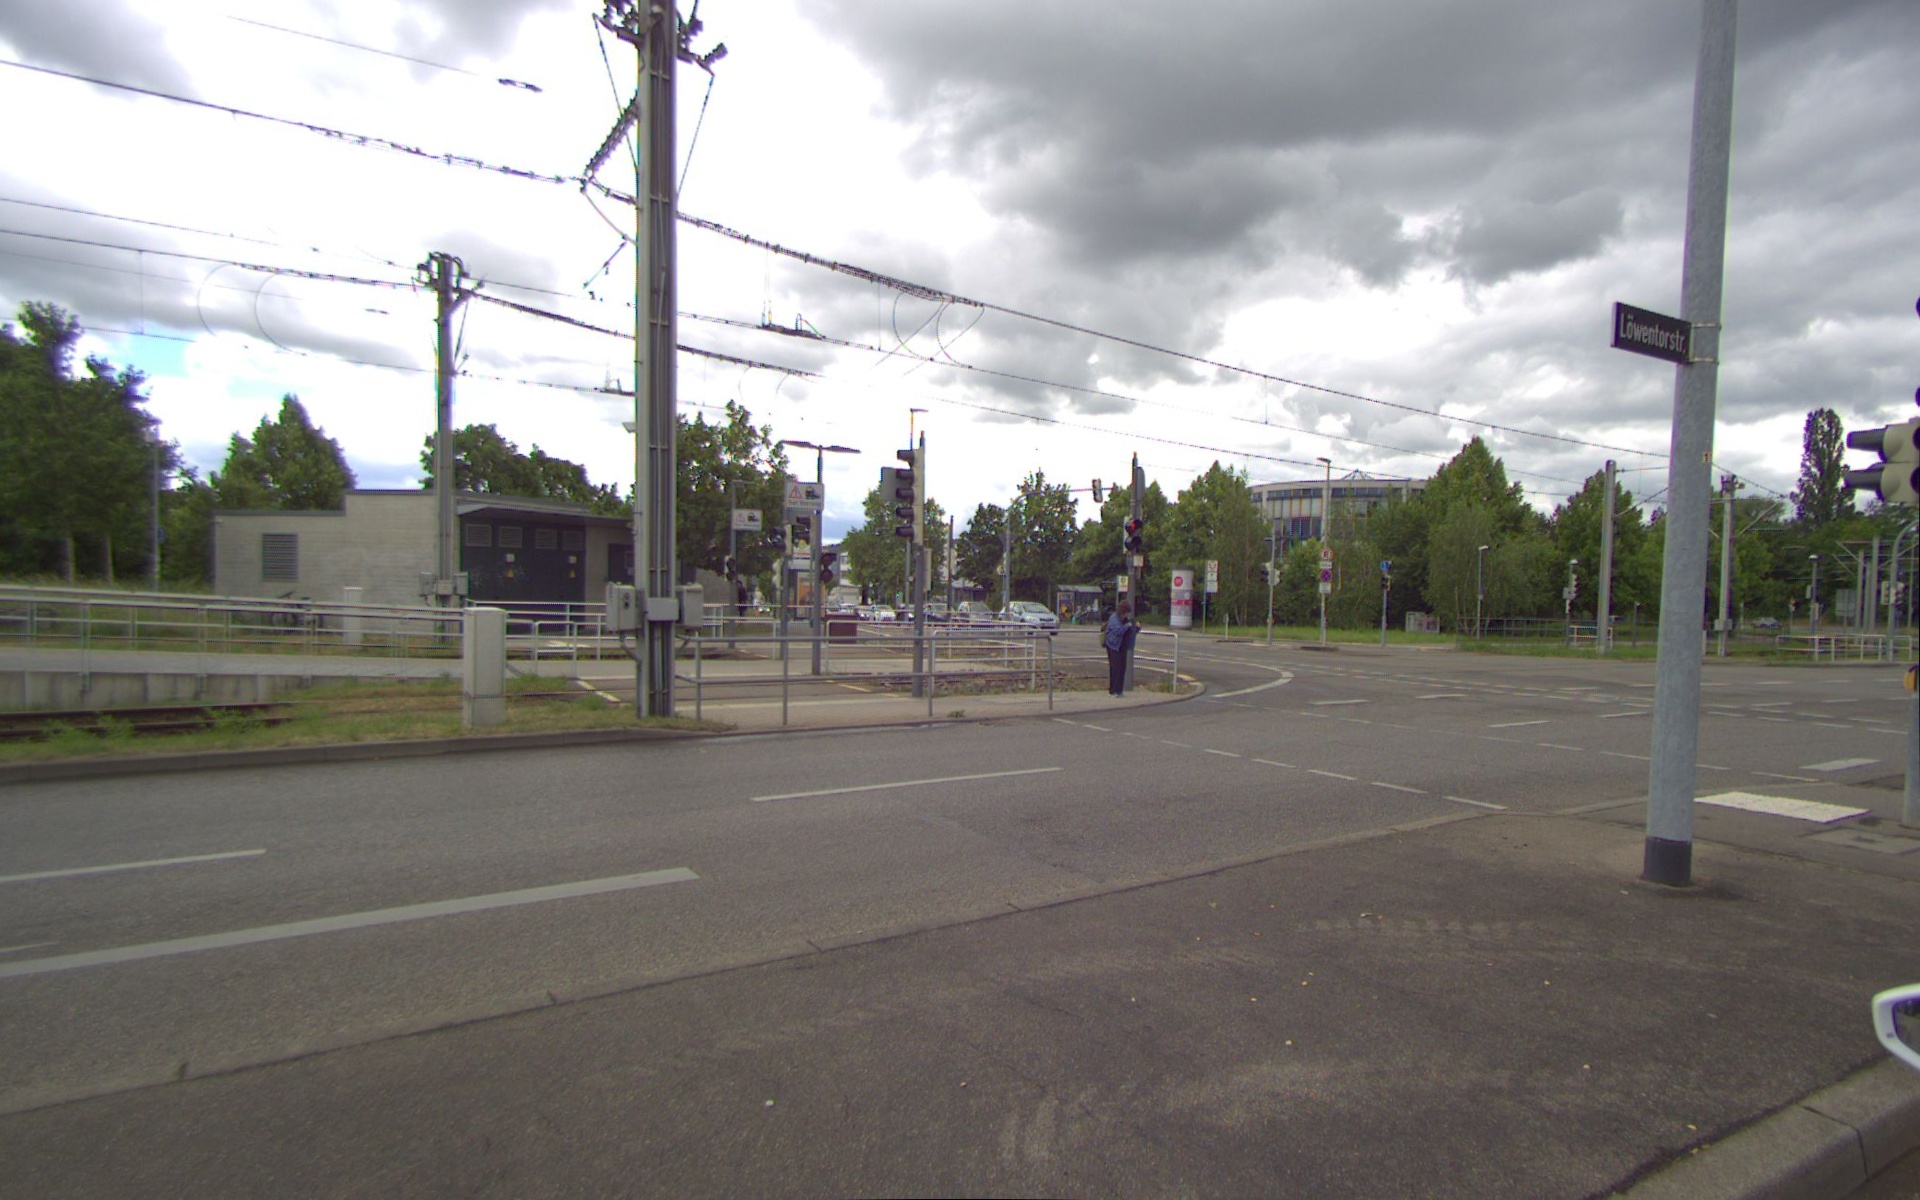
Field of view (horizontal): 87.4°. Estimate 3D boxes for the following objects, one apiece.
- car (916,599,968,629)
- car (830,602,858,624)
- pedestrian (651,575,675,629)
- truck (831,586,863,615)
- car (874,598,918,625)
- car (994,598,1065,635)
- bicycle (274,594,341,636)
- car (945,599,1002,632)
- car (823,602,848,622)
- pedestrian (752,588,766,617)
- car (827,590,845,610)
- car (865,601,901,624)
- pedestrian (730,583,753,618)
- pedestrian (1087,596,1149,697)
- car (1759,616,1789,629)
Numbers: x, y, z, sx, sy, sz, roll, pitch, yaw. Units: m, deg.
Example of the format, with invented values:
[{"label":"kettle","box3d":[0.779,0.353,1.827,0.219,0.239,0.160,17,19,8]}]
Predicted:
[{"label":"car","box3d":[-1.070,0.760,58.038,1.776,1.617,3.982,2,0,-20]},{"label":"car","box3d":[-9.993,1.125,86.593,1.869,1.805,3.988,1,0,-14]},{"label":"pedestrian","box3d":[-9.920,0.066,33.508,0.700,1.751,0.674,2,0,-19]},{"label":"truck","box3d":[-14.963,0.017,132.401,2.965,3.580,9.258,1,0,-13]},{"label":"car","box3d":[-4.156,0.696,64.574,1.776,1.617,3.982,2,0,-20]},{"label":"car","box3d":[3.191,0.734,46.898,1.848,1.617,3.982,2,0,-20]},{"label":"bicycle","box3d":[-17.365,0.395,26.726,1.778,1.045,0.536,2,0,21]},{"label":"car","box3d":[0.660,0.794,53.864,1.776,1.617,3.982,2,0,-20]},{"label":"car","box3d":[-11.697,1.110,94.121,1.869,1.805,3.990,1,0,-13]},{"label":"pedestrian","box3d":[-11.196,0.143,56.040,0.633,1.557,0.521,2,0,-2]},{"label":"car","box3d":[-14.617,-0.011,118.105,1.964,2.218,5.800,1,0,-9]},{"label":"car","box3d":[-5.771,0.924,74.898,1.775,1.617,3.985,2,0,-17]},{"label":"pedestrian","box3d":[-8.661,0.029,39.831,0.590,1.377,0.616,2,0,18]},{"label":"pedestrian","box3d":[2.524,0.734,16.088,0.712,1.557,0.630,2,0,-33]},{"label":"car","box3d":[104.953,2.931,129.543,1.765,1.608,4.000,2,0,19]}]
